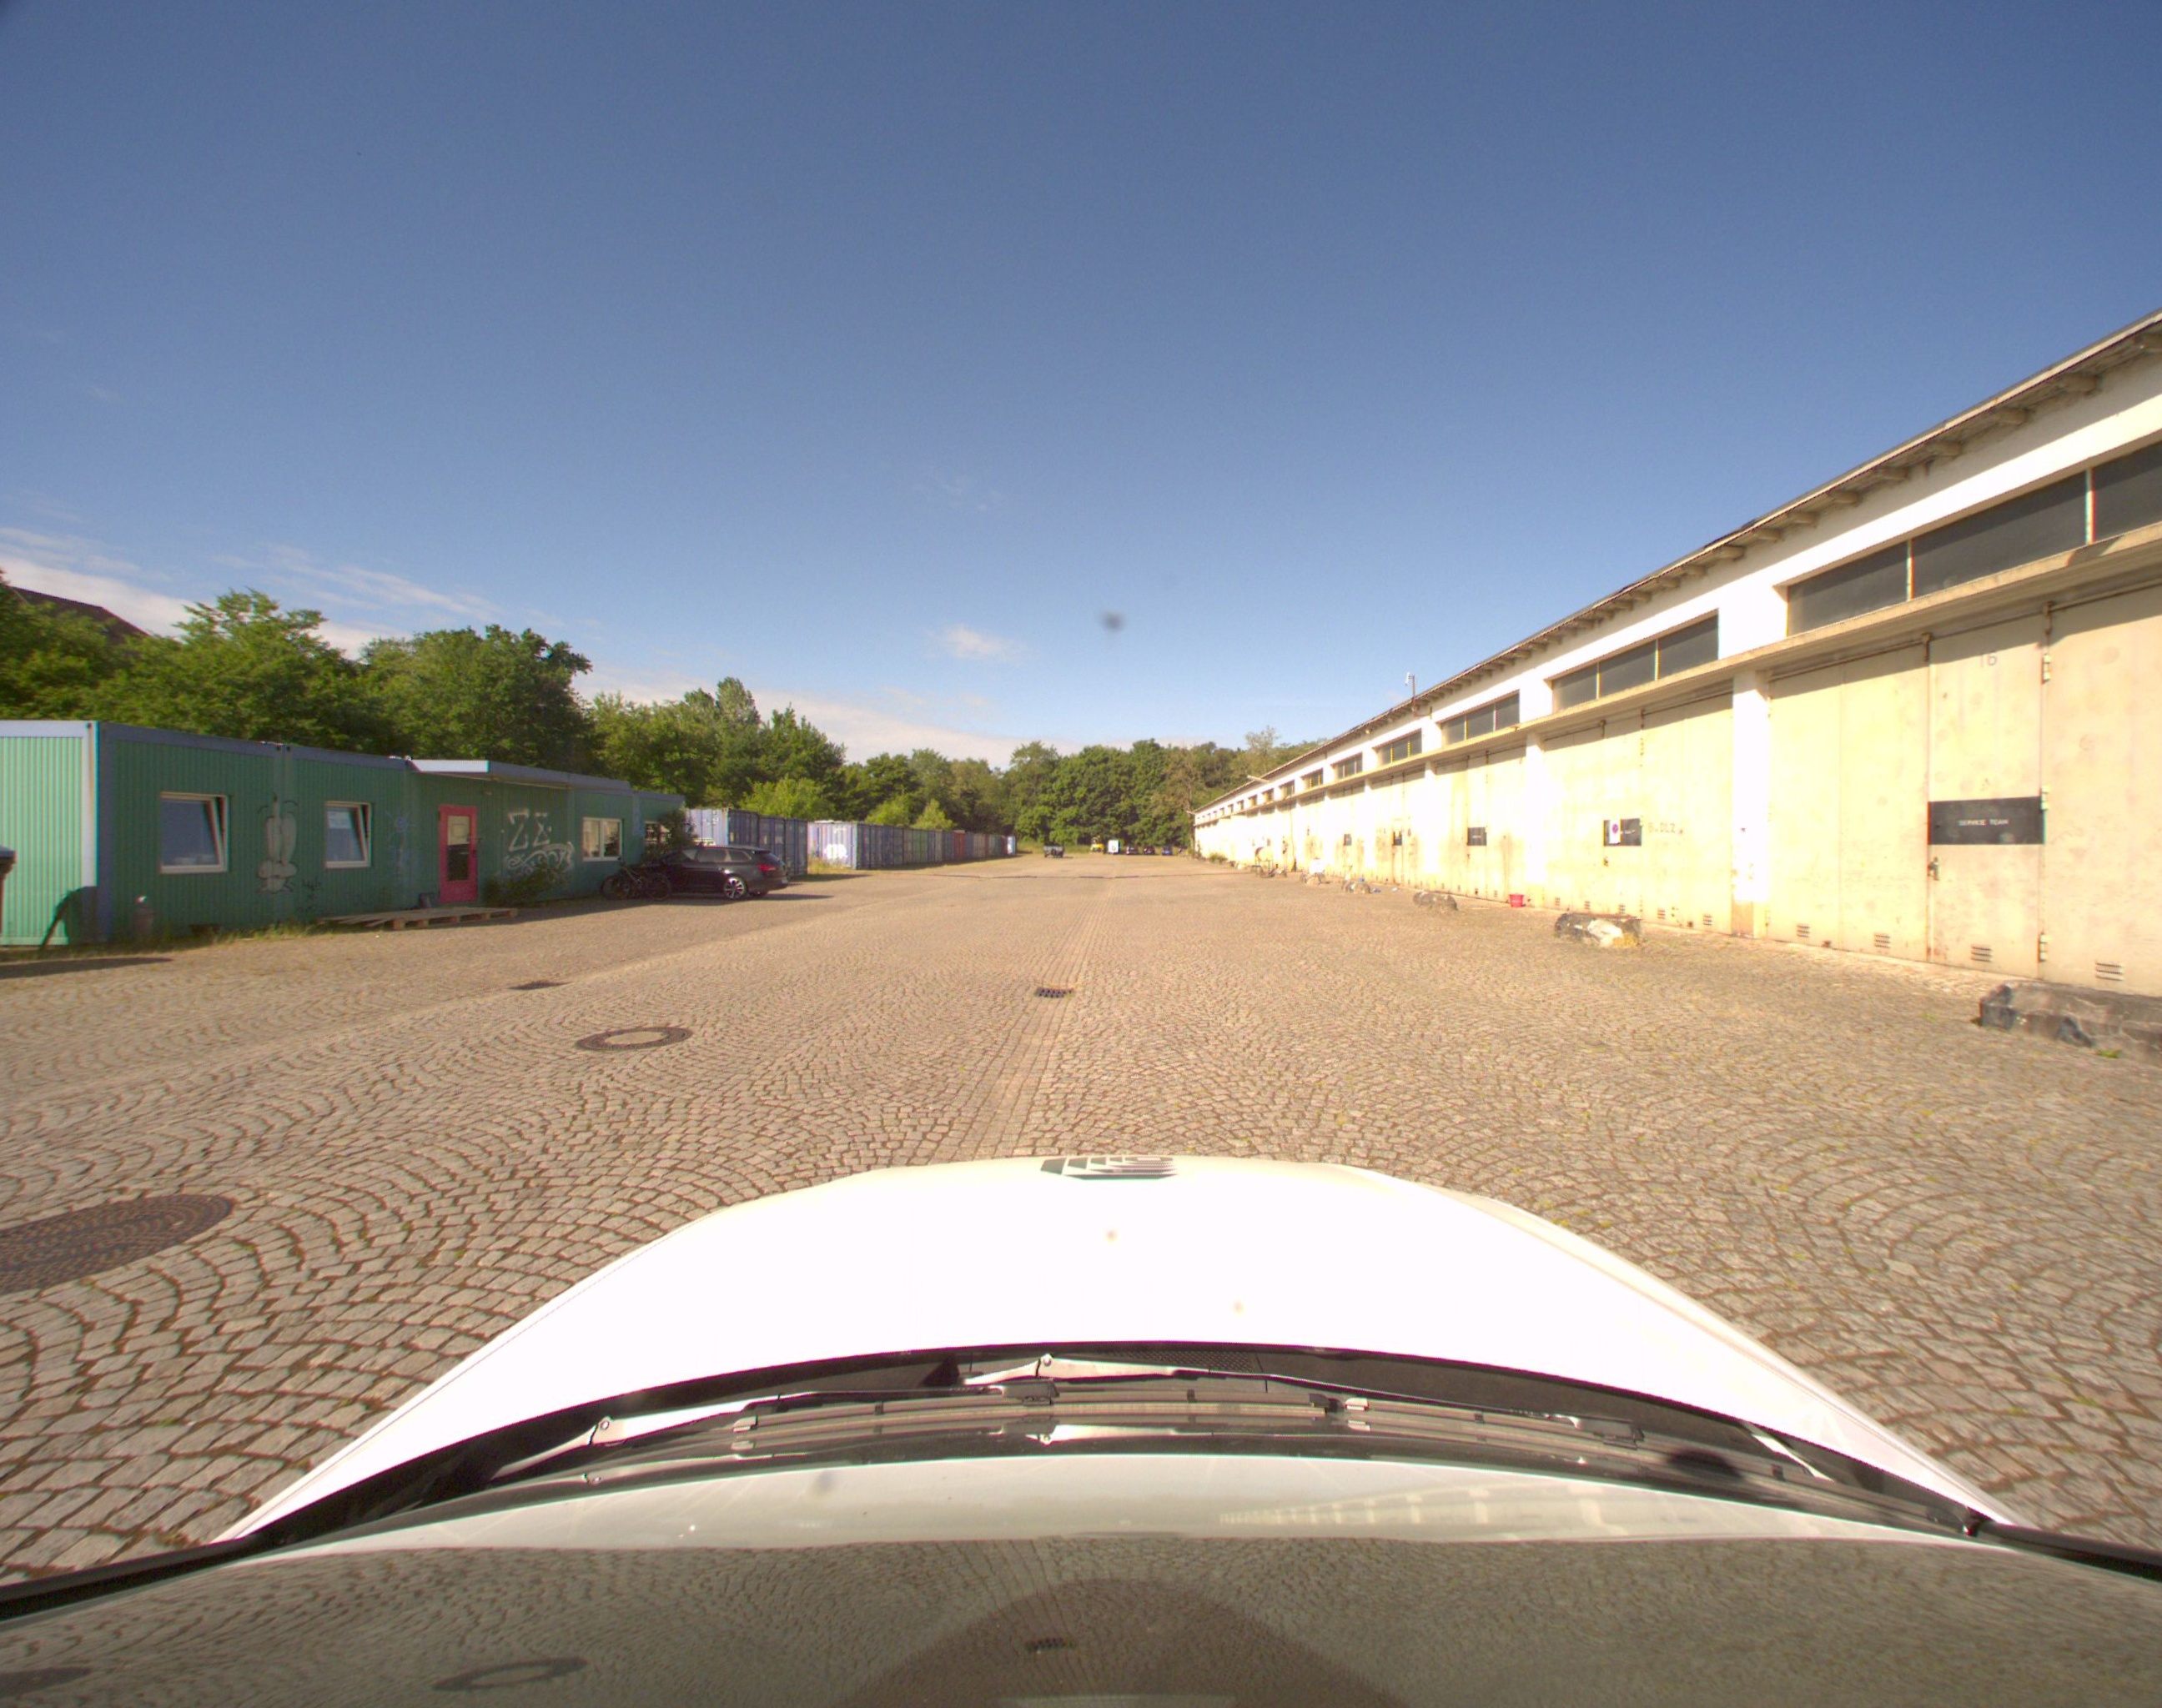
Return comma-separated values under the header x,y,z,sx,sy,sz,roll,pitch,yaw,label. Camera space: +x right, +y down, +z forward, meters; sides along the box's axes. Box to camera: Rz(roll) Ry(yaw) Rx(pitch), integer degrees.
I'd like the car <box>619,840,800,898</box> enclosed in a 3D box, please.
x,y,z,sx,sy,sz,roll,pitch,yaw,label
-9.910,0.386,21.955,4.040,1.413,1.730,1,0,-3,car

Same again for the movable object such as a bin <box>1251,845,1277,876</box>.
x,y,z,sx,sy,sz,roll,pitch,yaw,label
7.979,0.259,35.584,0.821,1.331,1.279,0,0,-2,movable object such as a bin

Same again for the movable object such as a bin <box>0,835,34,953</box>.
x,y,z,sx,sy,sz,roll,pitch,yaw,label
-13.591,0.487,9.449,1.085,1.436,1.404,0,0,-9,movable object such as a bin

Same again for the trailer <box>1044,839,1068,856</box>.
x,y,z,sx,sy,sz,roll,pitch,yaw,label
-3.097,-0.867,102.144,2.395,2.013,4.179,2,1,5,trailer

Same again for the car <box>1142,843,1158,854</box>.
x,y,z,sx,sy,sz,roll,pitch,yaw,label
10.099,-0.823,119.238,1.981,1.462,4.011,0,1,10,car

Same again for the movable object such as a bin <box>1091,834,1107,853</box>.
x,y,z,sx,sy,sz,roll,pitch,yaw,label
2.706,-1.586,121.336,1.983,2.618,4.008,2,1,7,movable object such as a bin

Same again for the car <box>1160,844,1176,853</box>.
x,y,z,sx,sy,sz,roll,pitch,yaw,label
12.719,-0.819,119.125,1.981,1.420,4.011,0,1,10,car

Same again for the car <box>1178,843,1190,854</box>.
x,y,z,sx,sy,sz,roll,pitch,yaw,label
15.249,-0.867,120.372,1.675,1.563,4.011,0,1,10,car

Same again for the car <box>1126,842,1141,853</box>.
x,y,z,sx,sy,sz,roll,pitch,yaw,label
7.691,-0.895,119.147,1.850,1.585,4.011,0,1,10,car

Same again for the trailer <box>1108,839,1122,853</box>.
x,y,z,sx,sy,sz,roll,pitch,yaw,label
5.075,-1.173,120.959,1.784,2.090,3.980,0,1,7,trailer

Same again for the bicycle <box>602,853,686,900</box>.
x,y,z,sx,sy,sz,roll,pitch,yaw,label
-10.860,0.551,20.253,1.701,1.101,0.674,2,1,2,bicycle
